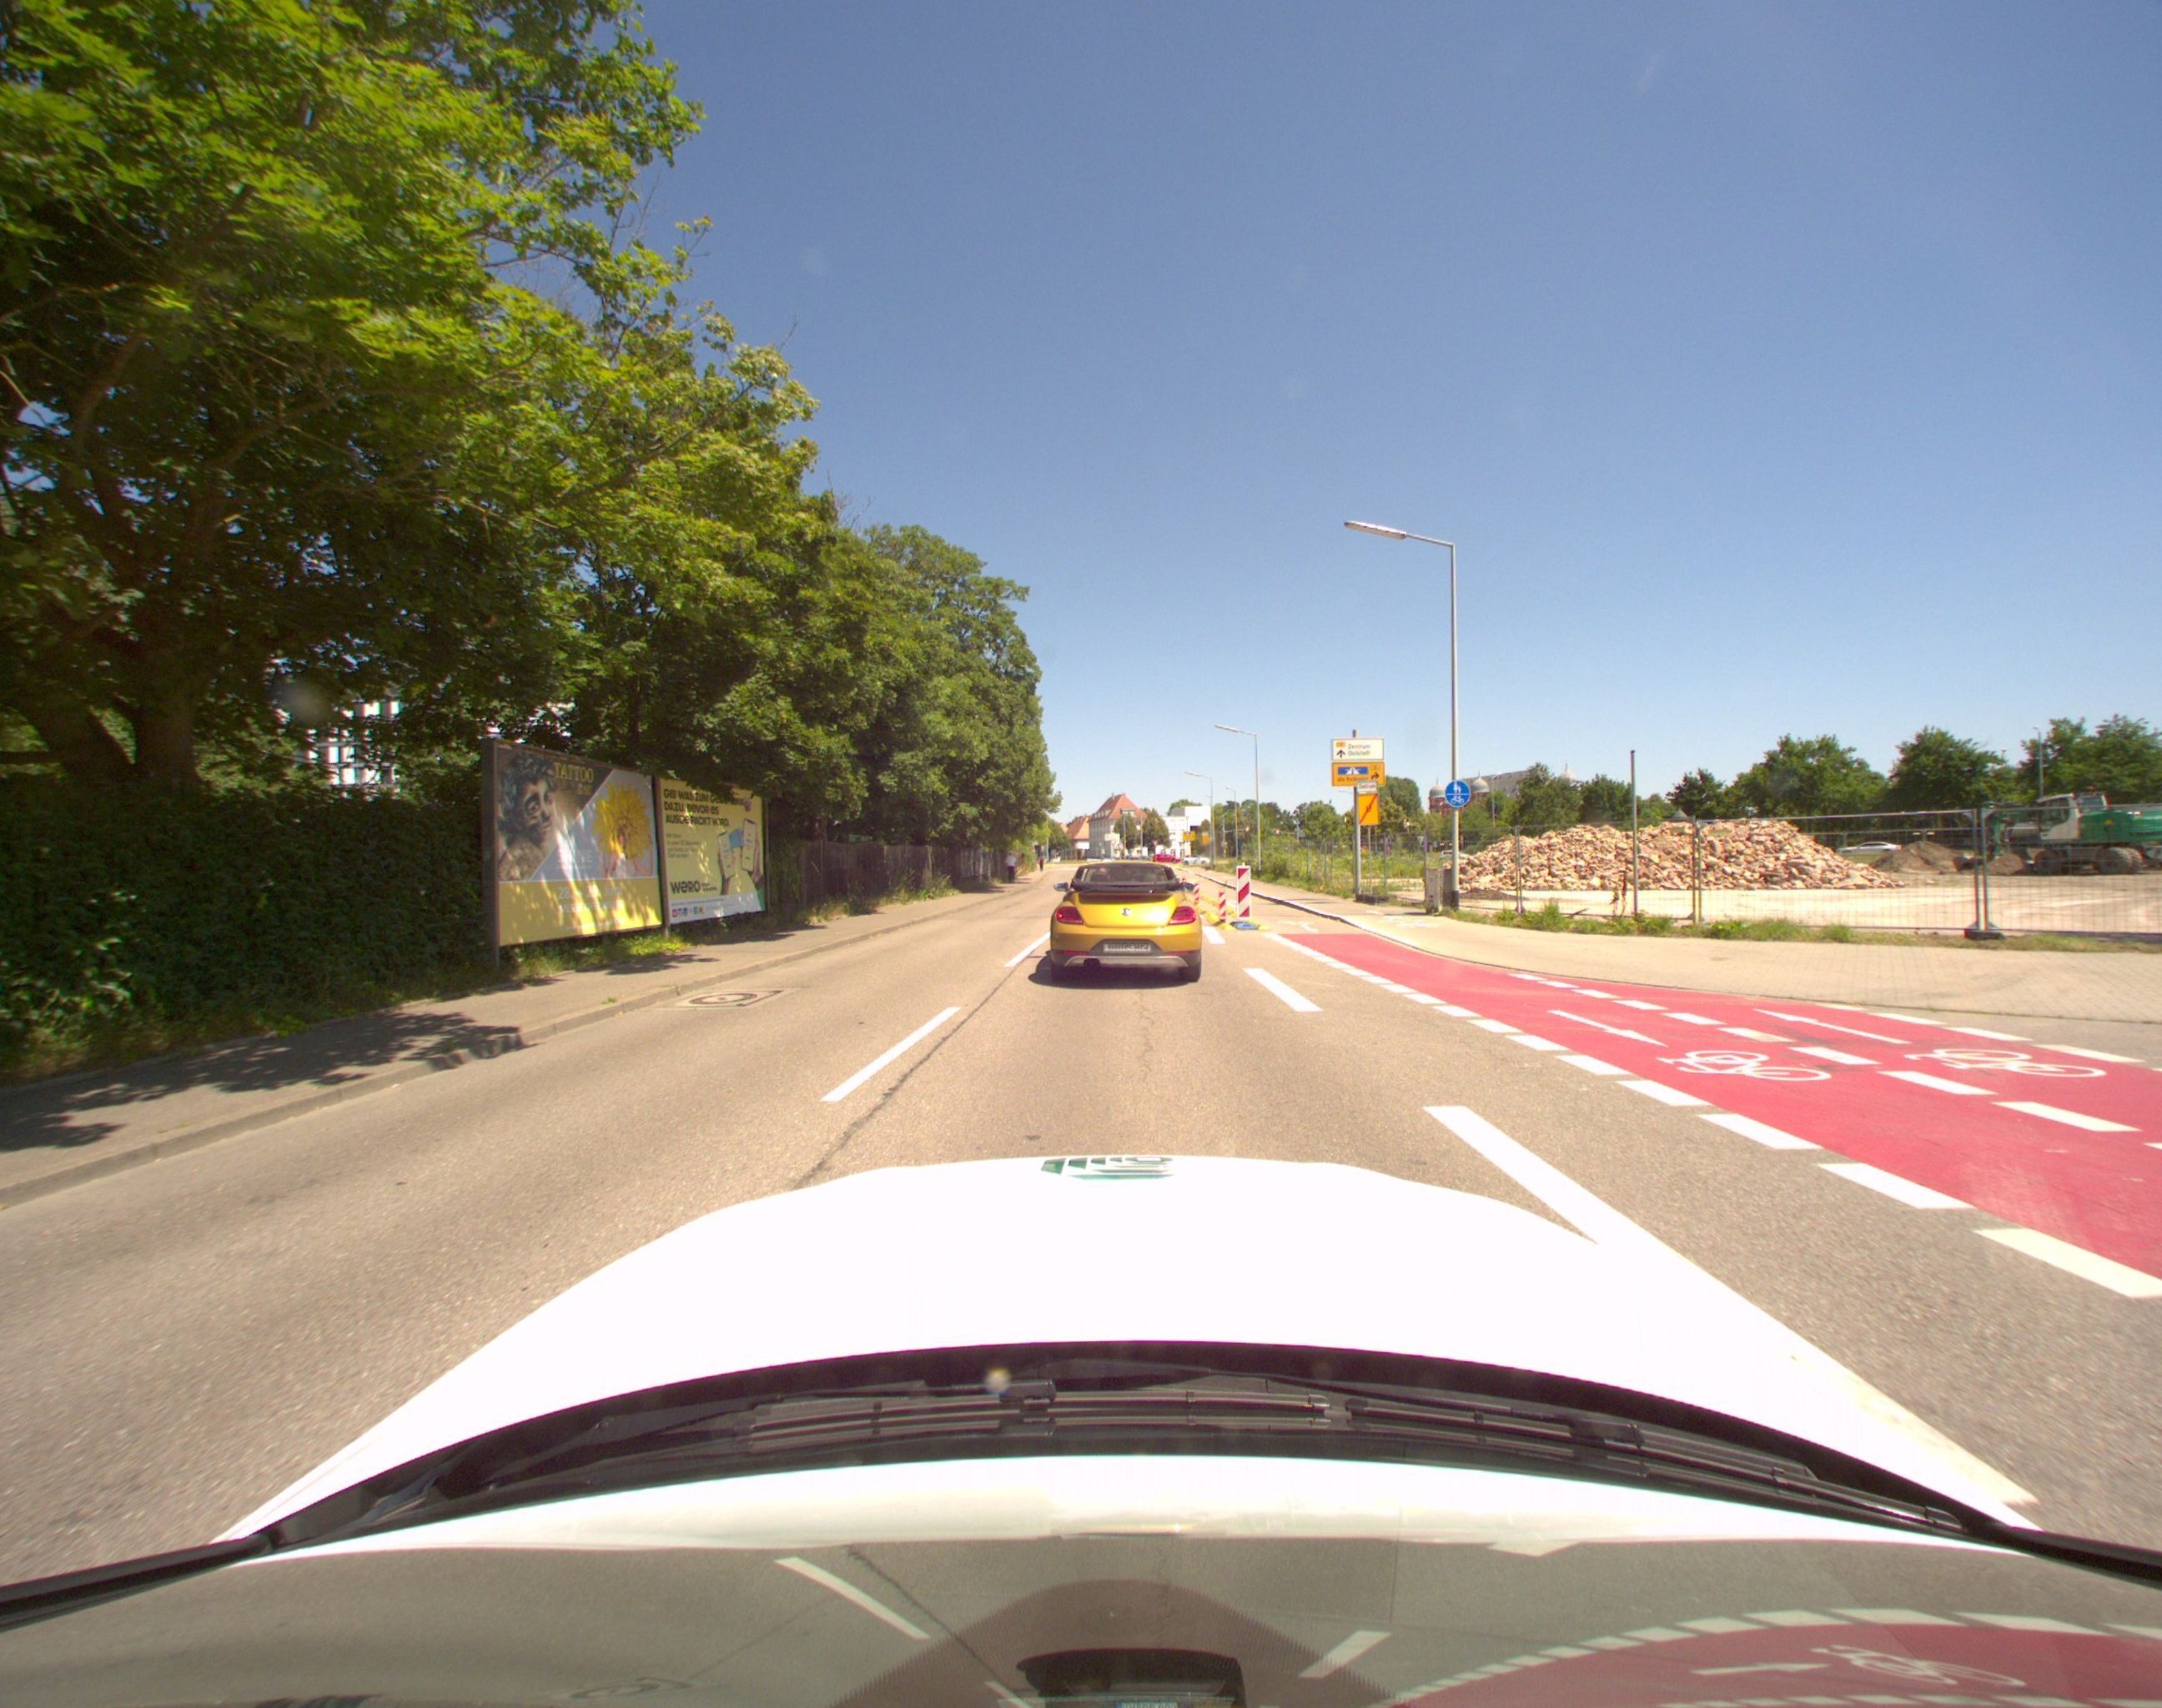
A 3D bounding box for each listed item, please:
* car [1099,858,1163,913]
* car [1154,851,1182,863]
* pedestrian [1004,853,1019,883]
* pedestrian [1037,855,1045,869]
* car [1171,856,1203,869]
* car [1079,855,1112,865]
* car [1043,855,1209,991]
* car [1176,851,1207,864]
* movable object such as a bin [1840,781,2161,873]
[{"bbox_3d":[1.520,0.878,24.366,1.719,1.443,4.004,-2,0,4],"label":"car"},{"bbox_3d":[12.883,0.414,120.440,4.039,1.677,1.789,-2,0,9],"label":"car"},{"bbox_3d":[-4.018,0.810,46.957,0.720,1.725,0.818,-2,-1,0],"label":"pedestrian"},{"bbox_3d":[-4.184,0.857,84.984,0.720,1.454,0.818,-2,-1,0],"label":"pedestrian"},{"bbox_3d":[13.916,1.151,107.058,3.958,1.613,1.797,-2,0,14],"label":"car"},{"bbox_3d":[2.052,0.857,114.686,4.414,1.358,1.541,-2,0,9],"label":"car"},{"bbox_3d":[0.570,0.761,10.839,1.783,1.436,3.816,-2,0,2],"label":"car"},{"bbox_3d":[15.235,0.426,112.174,4.037,1.677,1.790,-2,0,11],"label":"car"},{"bbox_3d":[39.662,-0.997,34.786,4.920,3.260,10.475,-1,0,2],"label":"movable object such as a bin"}]
